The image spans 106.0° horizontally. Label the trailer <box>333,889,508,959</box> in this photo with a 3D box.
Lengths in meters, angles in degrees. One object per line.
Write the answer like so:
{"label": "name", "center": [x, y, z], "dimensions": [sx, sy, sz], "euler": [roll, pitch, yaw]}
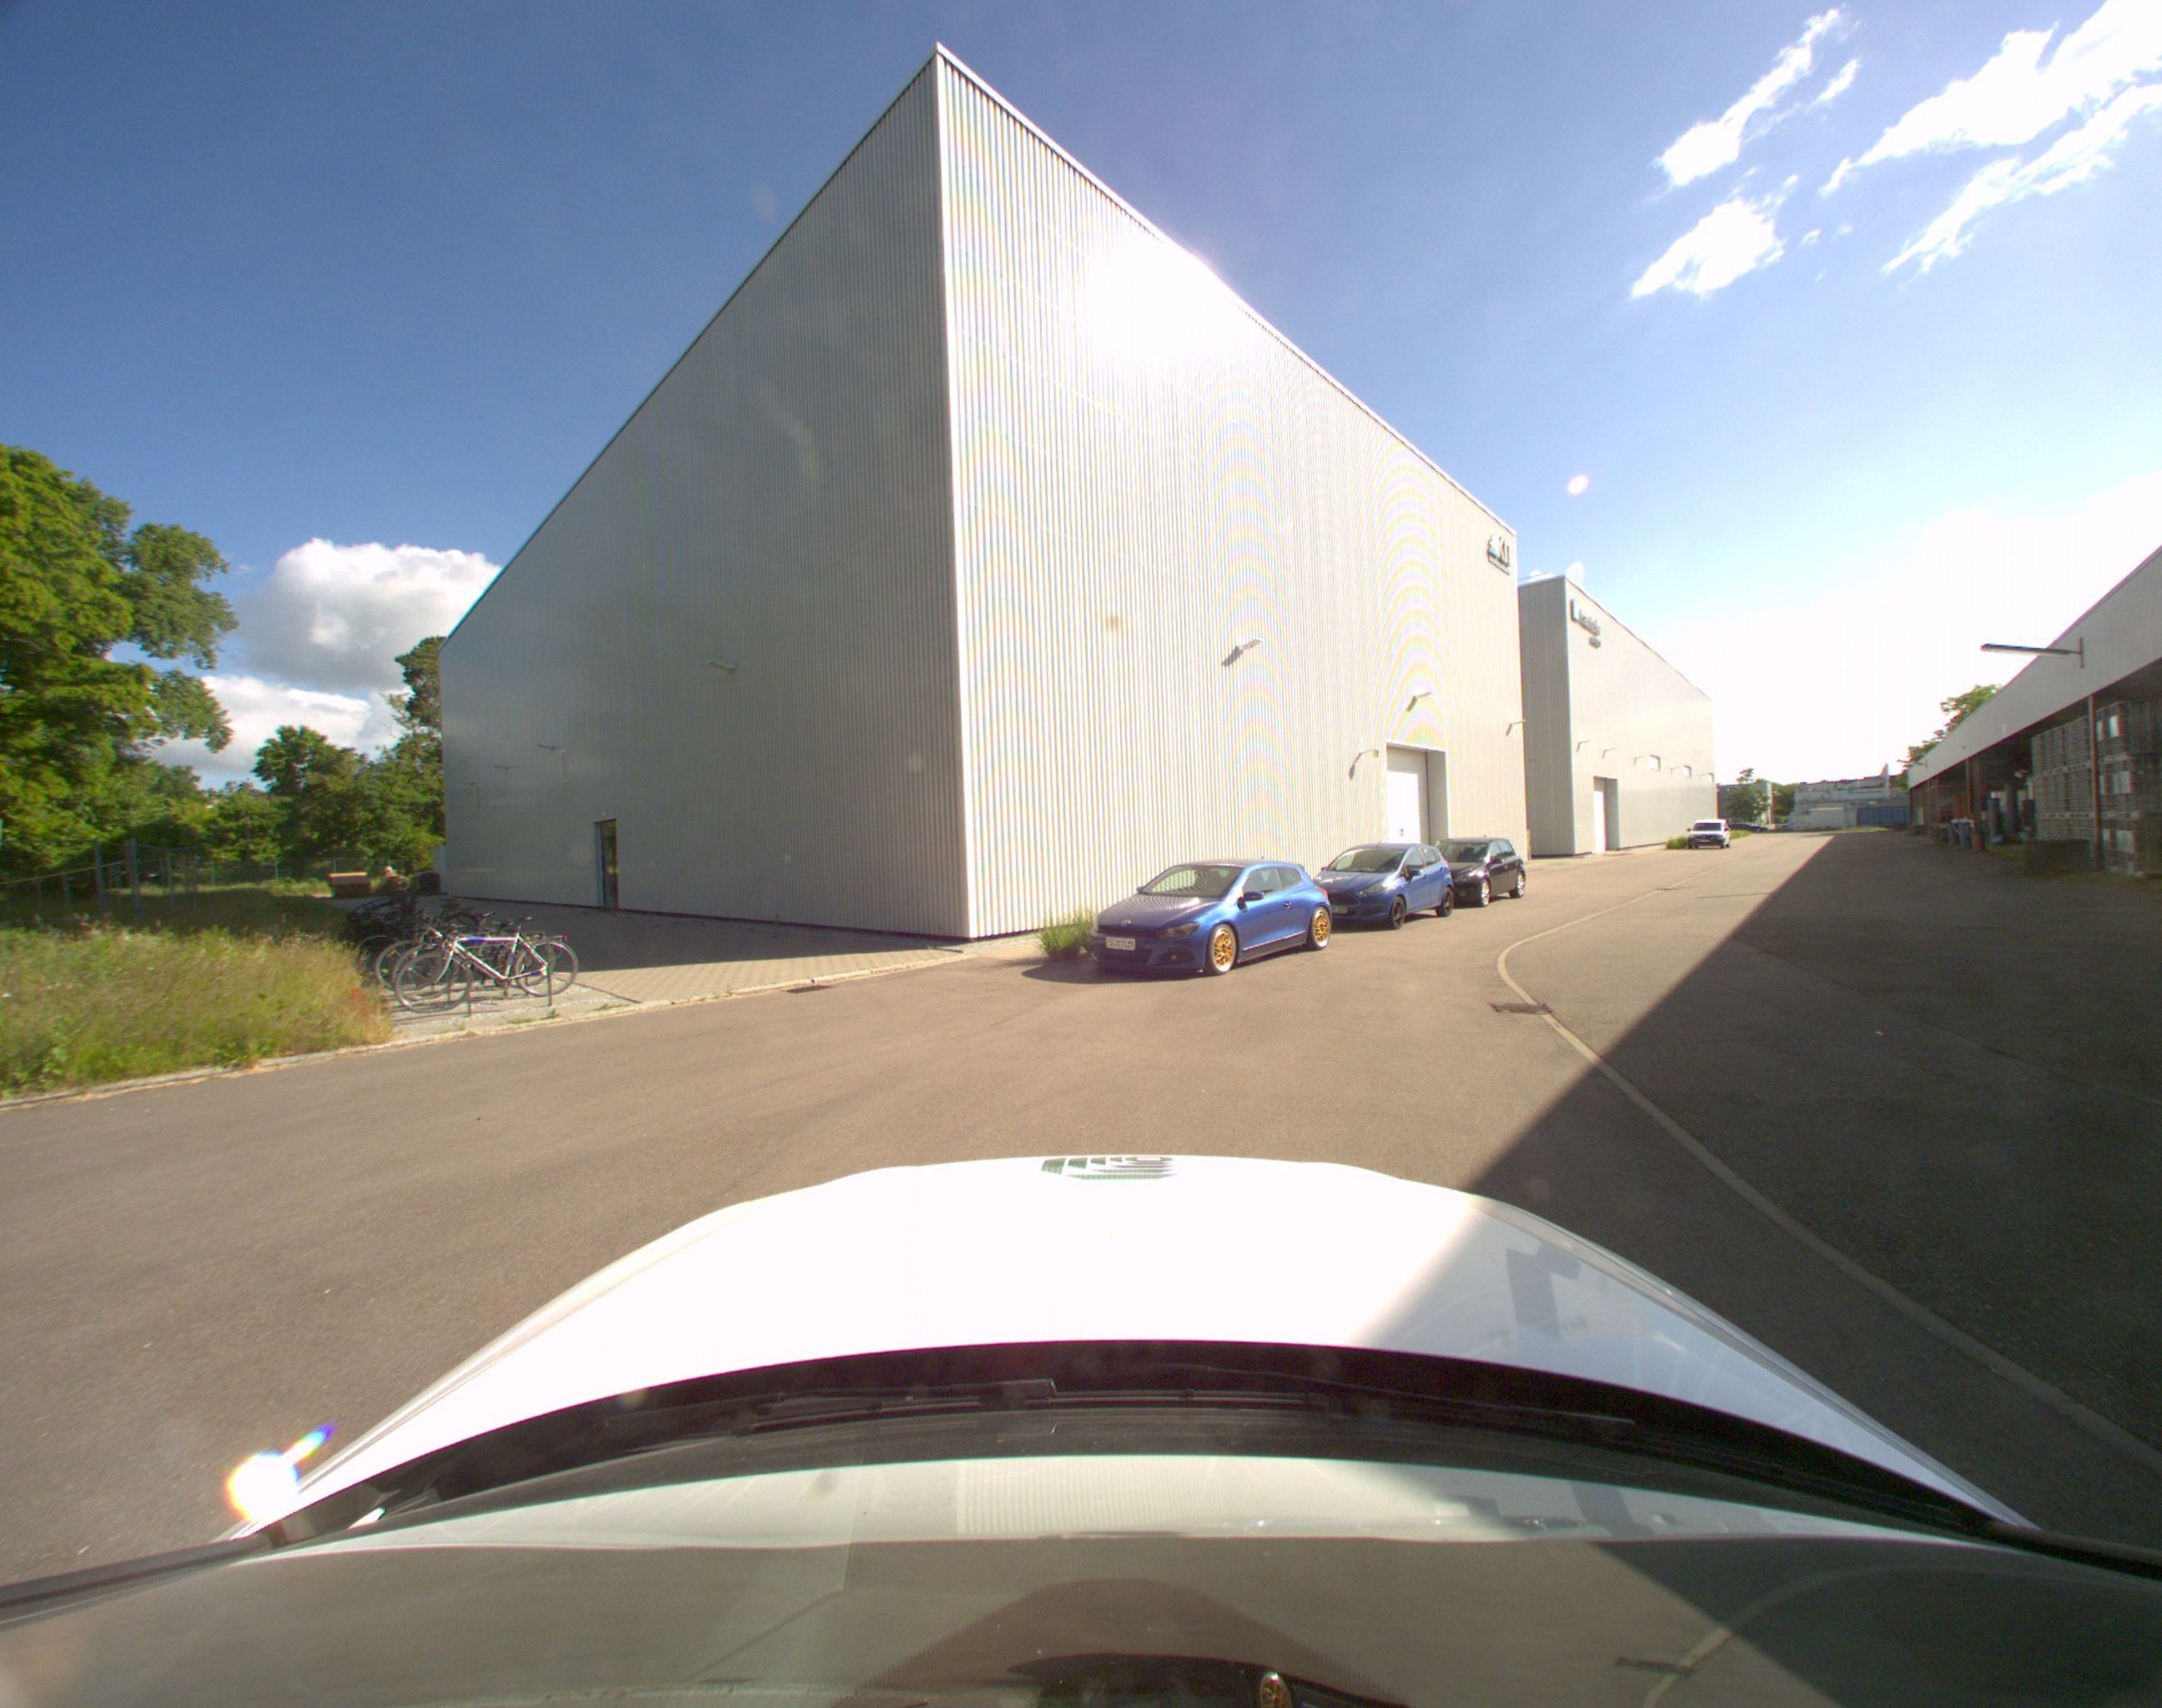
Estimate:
{"label": "trailer", "center": [-14.133, 1.443, 17.499], "dimensions": [1.230, 1.199, 2.736], "euler": [-2, 1, 43]}

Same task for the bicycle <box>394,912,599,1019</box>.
{"label": "bicycle", "center": [-6.893, 1.277, 9.696], "dimensions": [0.428, 0.978, 1.901], "euler": [-2, 1, 43]}

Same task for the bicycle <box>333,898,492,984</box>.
{"label": "bicycle", "center": [-10.681, 1.355, 13.078], "dimensions": [0.428, 1.126, 1.901], "euler": [-2, 1, 43]}

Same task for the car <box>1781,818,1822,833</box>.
{"label": "car", "center": [96.045, -3.833, 108.618], "dimensions": [4.045, 1.775, 1.912], "euler": [-2, 1, 42]}

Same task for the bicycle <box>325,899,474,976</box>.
{"label": "bicycle", "center": [-11.731, 1.407, 14.082], "dimensions": [0.428, 1.104, 1.901], "euler": [-2, 1, 43]}

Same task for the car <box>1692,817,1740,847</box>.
{"label": "car", "center": [38.977, -1.386, 49.932], "dimensions": [4.323, 1.756, 1.690], "euler": [-2, 2, -43]}

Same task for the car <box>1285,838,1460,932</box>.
{"label": "car", "center": [5.583, 0.474, 15.343], "dimensions": [1.733, 1.473, 3.922], "euler": [1, 2, 42]}

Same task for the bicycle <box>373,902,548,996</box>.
{"label": "bicycle", "center": [-8.765, 1.298, 11.585], "dimensions": [0.428, 1.082, 1.901], "euler": [-2, 1, 43]}

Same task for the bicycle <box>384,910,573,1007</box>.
{"label": "bicycle", "center": [-7.800, 1.314, 10.631], "dimensions": [0.428, 0.978, 1.901], "euler": [-2, 1, 43]}

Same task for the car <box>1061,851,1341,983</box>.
{"label": "car", "center": [1.820, 0.718, 11.241], "dimensions": [1.733, 1.384, 4.194], "euler": [-2, 0, 42]}

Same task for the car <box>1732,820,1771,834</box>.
{"label": "car", "center": [93.116, -3.735, 113.087], "dimensions": [4.045, 1.775, 1.912], "euler": [-2, 1, 42]}

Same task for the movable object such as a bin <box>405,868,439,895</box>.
{"label": "movable object such as a bin", "center": [-42.537, 1.776, 52.548], "dimensions": [1.376, 1.656, 2.807], "euler": [-3, 1, -44]}

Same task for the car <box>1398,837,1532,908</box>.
{"label": "car", "center": [9.013, 0.342, 18.976], "dimensions": [1.733, 1.418, 3.922], "euler": [1, 2, 42]}
